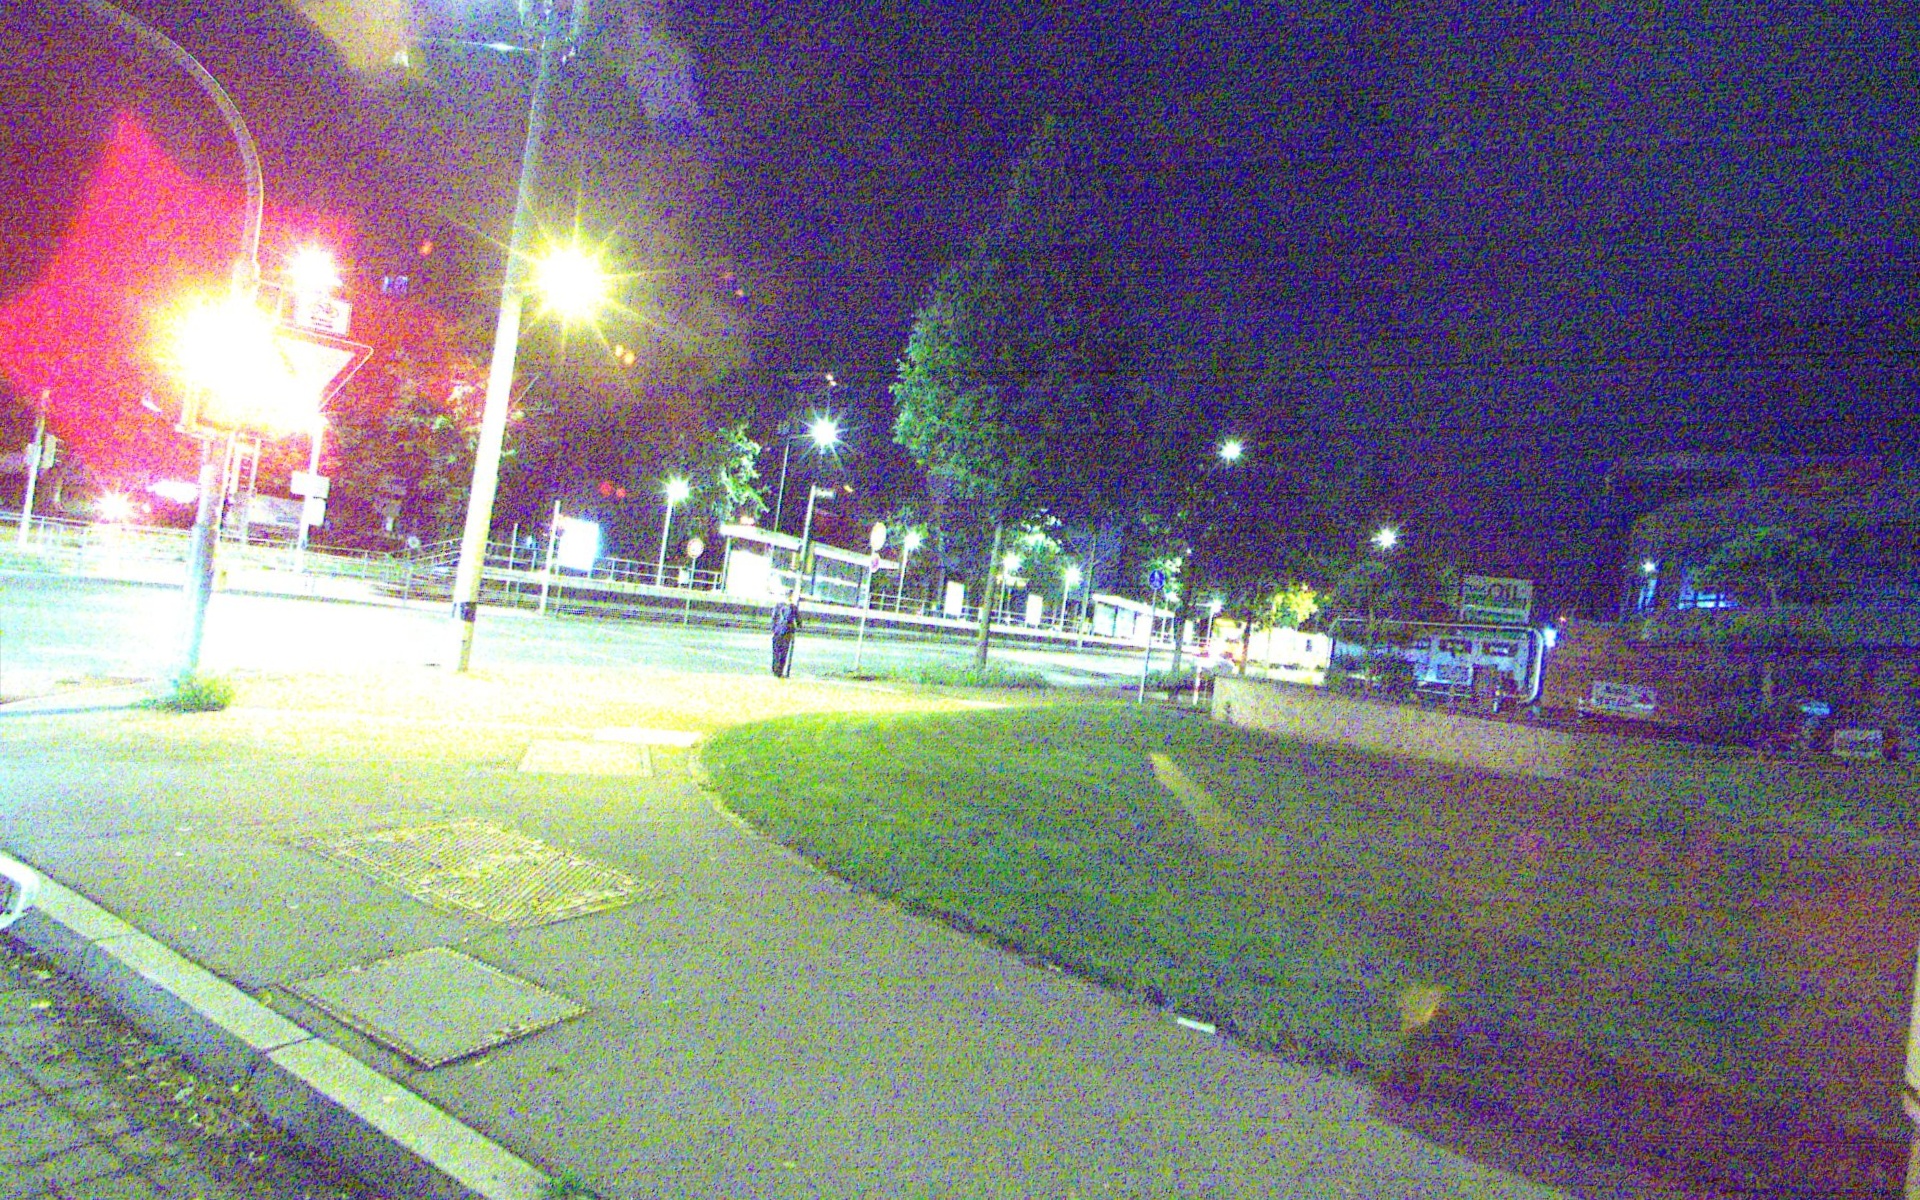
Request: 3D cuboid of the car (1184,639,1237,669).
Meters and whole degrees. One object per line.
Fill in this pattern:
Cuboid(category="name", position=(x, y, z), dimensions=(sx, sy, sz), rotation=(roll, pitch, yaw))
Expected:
Cuboid(category="car", position=(14.625, 3.170, 58.582), dimensions=(1.617, 1.438, 3.687), rotation=(7, 0, 35))

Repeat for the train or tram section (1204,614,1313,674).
Cuboid(category="train or tram section", position=(26.209, 4.046, 87.138), dimensions=(2.918, 3.896, 18.427), rotation=(8, 0, 35))

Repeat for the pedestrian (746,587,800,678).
Cuboid(category="pedestrian", position=(-3.587, 0.615, 19.273), dimensions=(0.867, 1.677, 0.835), rotation=(3, 1, -18))

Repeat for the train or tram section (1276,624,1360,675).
Cuboid(category="train or tram section", position=(36.802, 5.205, 102.622), dimensions=(2.919, 3.894, 18.866), rotation=(5, -2, 35))

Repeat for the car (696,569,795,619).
Cuboid(category="car", position=(-10.724, -0.259, 50.710), dimensions=(1.814, 1.866, 4.784), rotation=(8, -1, 35))

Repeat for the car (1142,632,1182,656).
Cuboid(category="car", position=(18.539, 4.058, 92.239), dimensions=(1.816, 1.603, 4.578), rotation=(8, -2, 33))
